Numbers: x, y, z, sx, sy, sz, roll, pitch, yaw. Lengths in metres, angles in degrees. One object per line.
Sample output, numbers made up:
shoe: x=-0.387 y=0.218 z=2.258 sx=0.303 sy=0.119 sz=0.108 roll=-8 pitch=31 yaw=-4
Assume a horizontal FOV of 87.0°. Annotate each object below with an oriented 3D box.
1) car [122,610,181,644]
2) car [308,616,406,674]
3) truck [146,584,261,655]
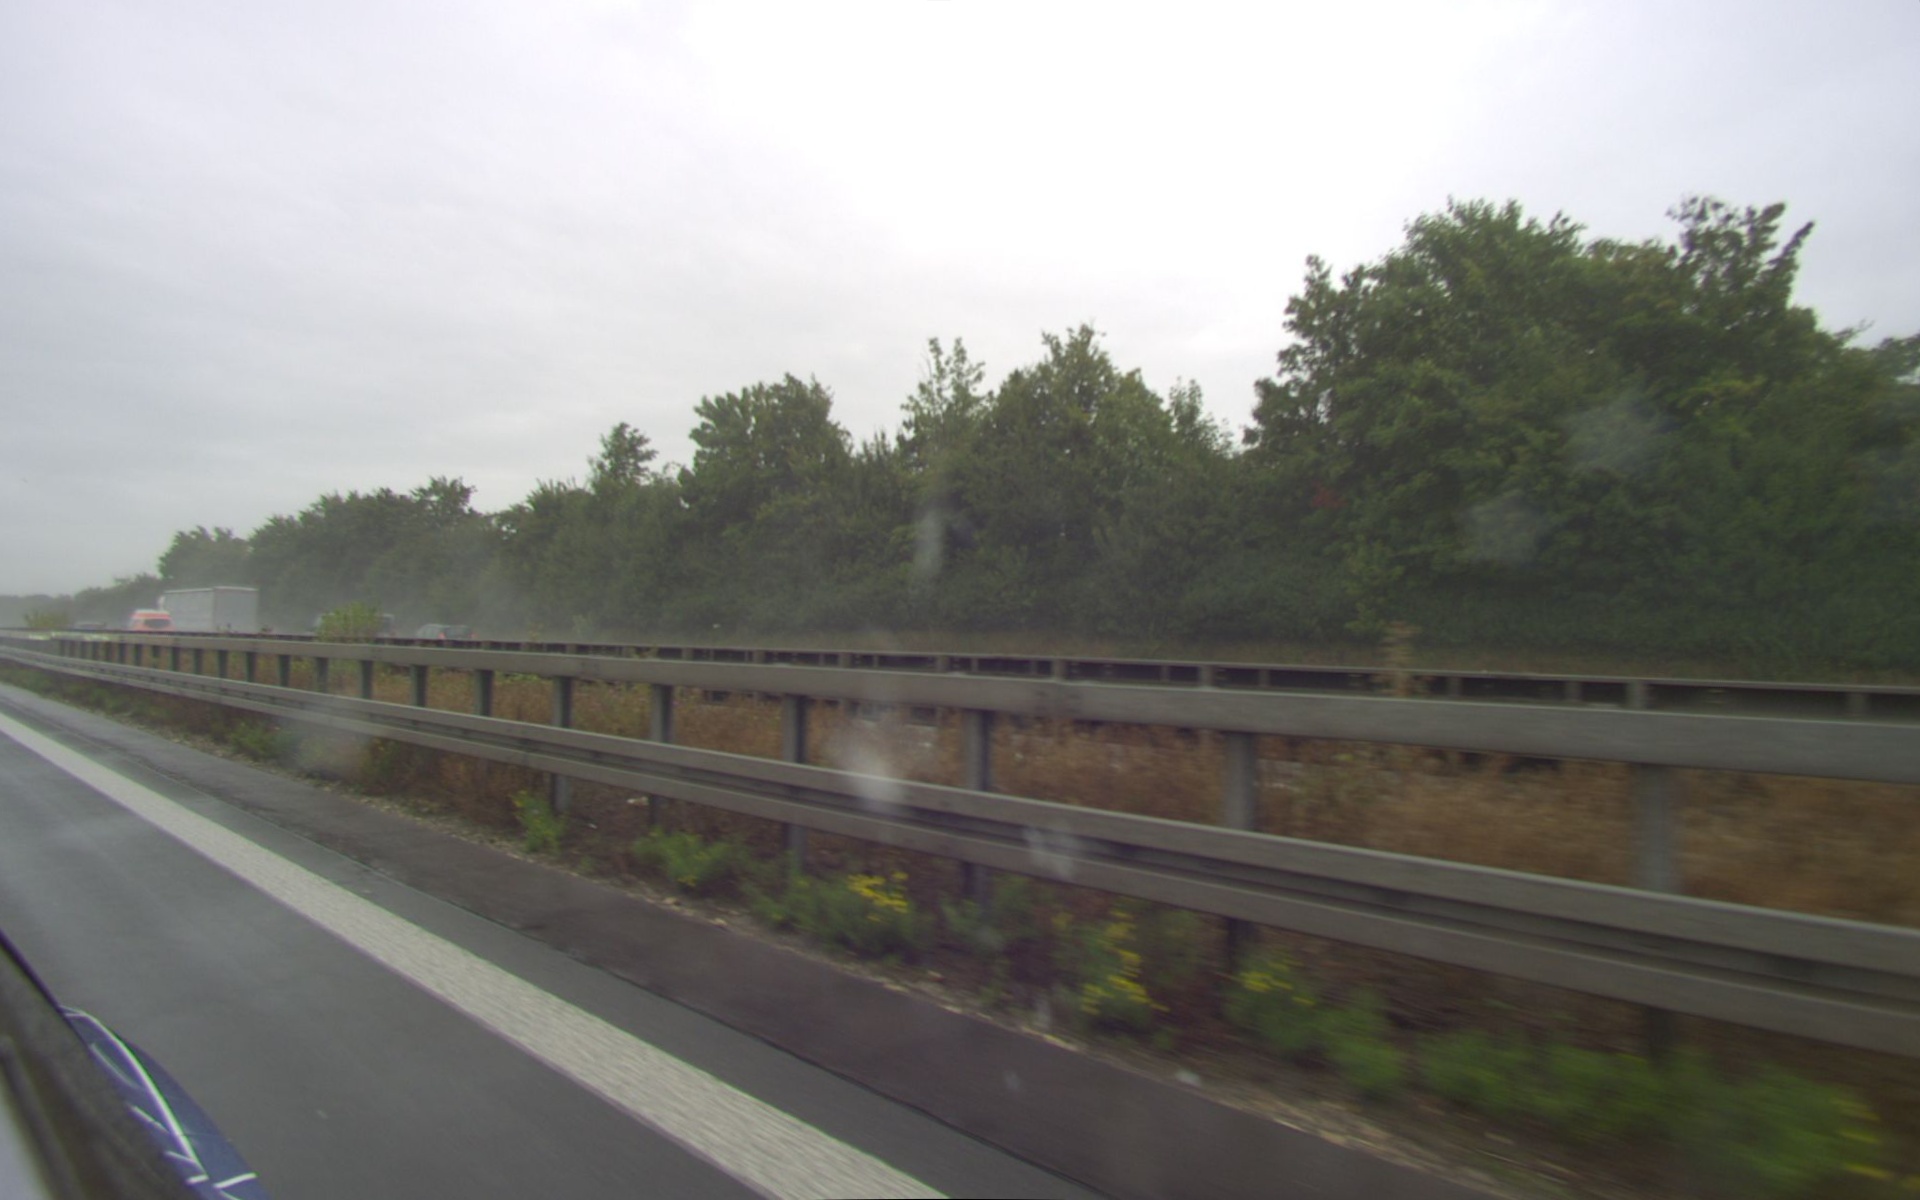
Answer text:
car: x=-51.403 y=1.730 z=64.314 sx=5.011 sy=2.000 sz=1.973 roll=-2 pitch=-1 yaw=40
car: x=-24.476 y=1.799 z=41.015 sx=4.662 sy=2.190 sz=2.012 roll=-2 pitch=-1 yaw=40
truck: x=-54.887 y=1.524 z=73.094 sx=17.086 sy=4.710 sz=2.935 roll=-2 pitch=-1 yaw=40
